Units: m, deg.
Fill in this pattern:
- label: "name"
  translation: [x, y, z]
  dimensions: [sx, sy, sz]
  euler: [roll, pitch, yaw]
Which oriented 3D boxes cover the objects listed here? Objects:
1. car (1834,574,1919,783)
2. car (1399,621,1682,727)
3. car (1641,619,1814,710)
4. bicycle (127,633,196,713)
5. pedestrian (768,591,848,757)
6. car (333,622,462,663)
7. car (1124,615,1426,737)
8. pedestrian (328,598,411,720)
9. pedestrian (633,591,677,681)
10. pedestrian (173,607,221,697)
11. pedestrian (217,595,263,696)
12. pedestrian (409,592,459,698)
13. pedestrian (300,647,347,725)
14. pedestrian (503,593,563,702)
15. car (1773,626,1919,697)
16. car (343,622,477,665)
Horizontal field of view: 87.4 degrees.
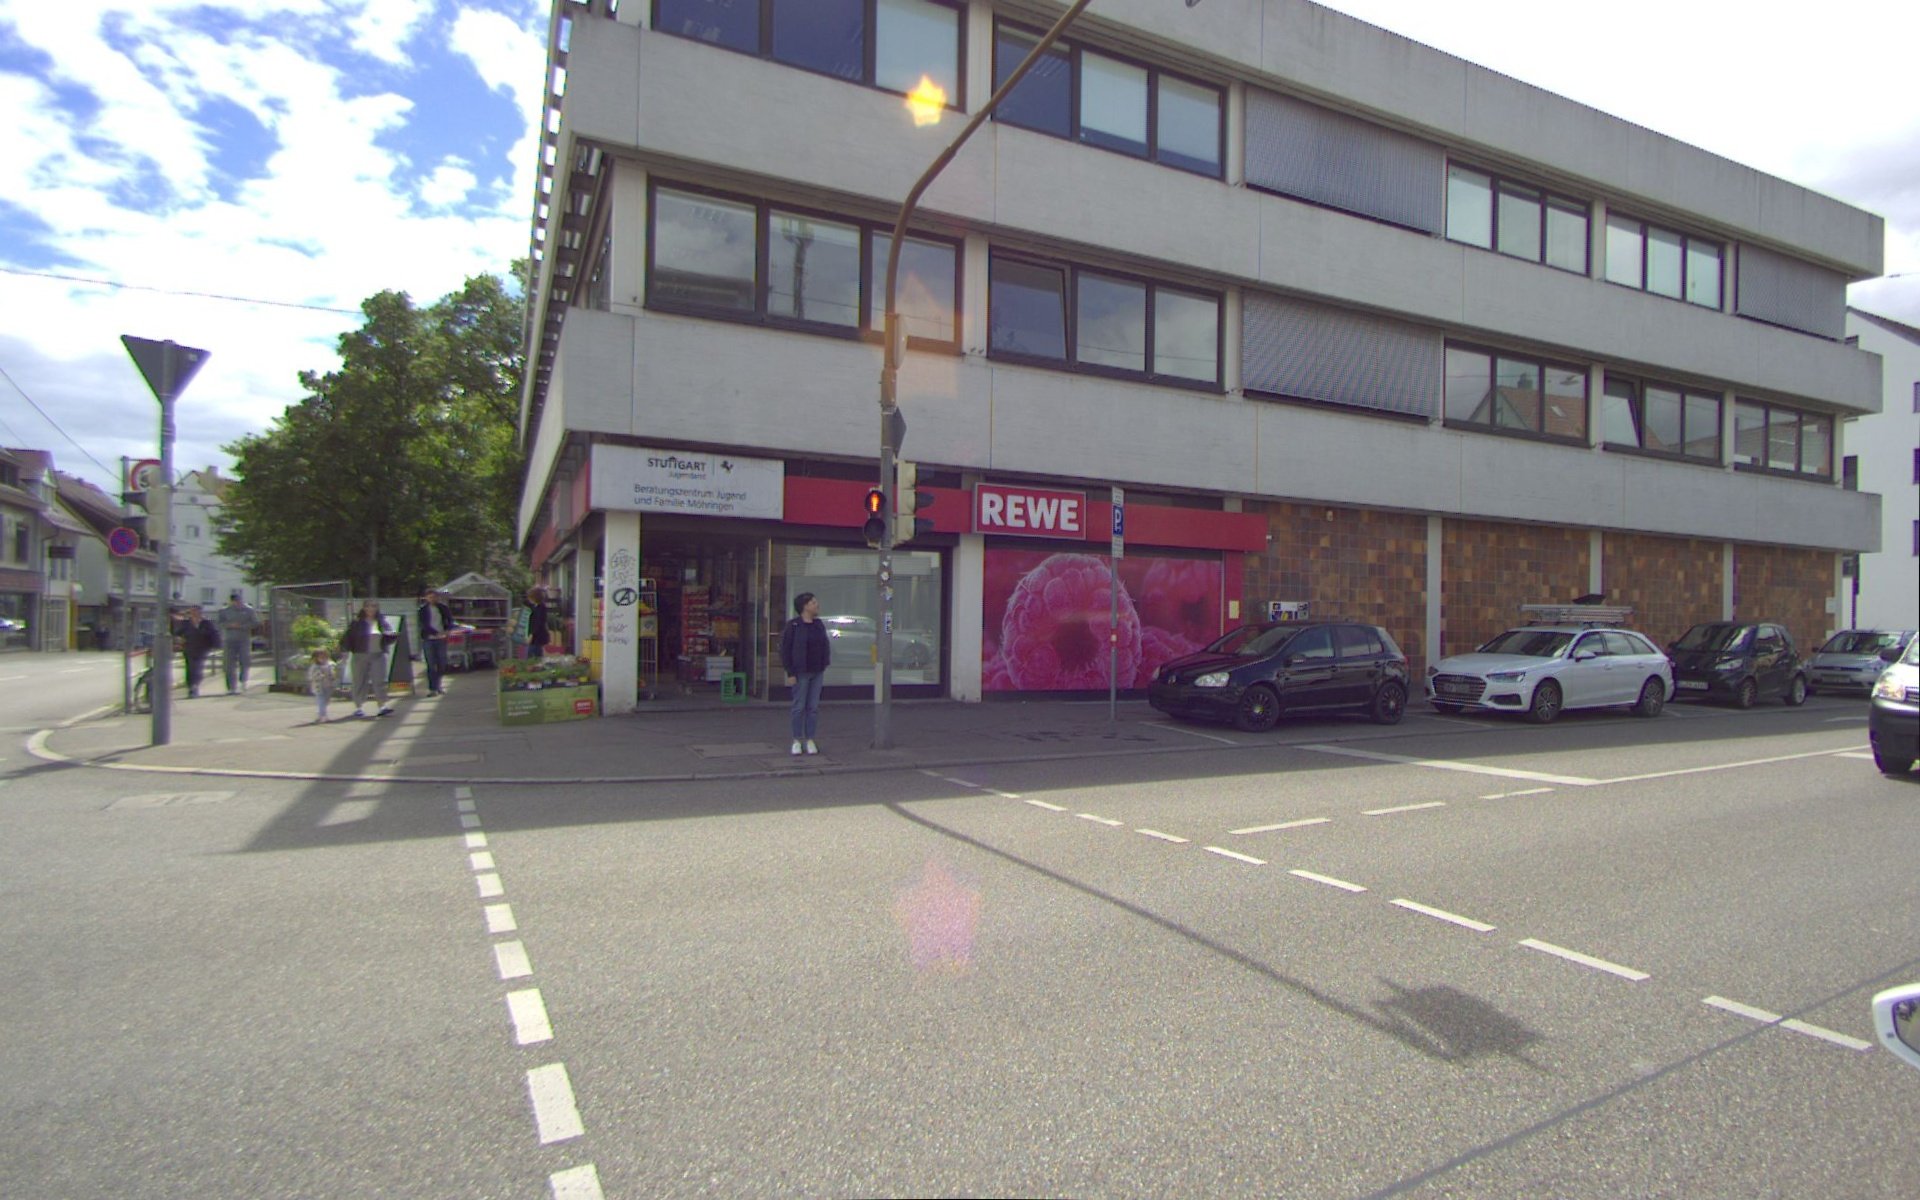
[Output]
- label: "car"
  translation: [10.806, 0.774, 10.152]
  dimensions: [4.109, 1.943, 1.828]
  euler: [2, -1, -31]
- label: "car"
  translation: [9.474, 1.116, 16.355]
  dimensions: [4.385, 1.463, 1.897]
  euler: [1, 0, -27]
- label: "car"
  translation: [14.609, 1.165, 19.116]
  dimensions: [2.909, 1.564, 1.600]
  euler: [1, 1, -30]
- label: "bicycle"
  translation: [-12.377, 1.110, 15.547]
  dimensions: [0.770, 1.157, 1.866]
  euler: [2, -3, -40]
- label: "pedestrian"
  translation: [-1.593, 0.750, 10.476]
  dimensions: [0.652, 1.663, 0.616]
  euler: [1, -1, -29]
- label: "car"
  translation: [-19.367, 1.453, 34.769]
  dimensions: [3.670, 1.339, 1.775]
  euler: [0, -1, -21]
- label: "car"
  translation: [4.515, 1.003, 14.336]
  dimensions: [4.034, 1.484, 1.778]
  euler: [1, 0, -27]
- label: "pedestrian"
  translation: [-8.224, 0.805, 13.999]
  dimensions: [0.712, 1.618, 0.695]
  euler: [1, -1, 33]
- label: "pedestrian"
  translation: [-6.456, 0.751, 21.241]
  dimensions: [0.671, 1.860, 0.727]
  euler: [0, -1, -38]
- label: "pedestrian"
  translation: [-13.860, 0.934, 18.257]
  dimensions: [0.671, 1.598, 0.727]
  euler: [1, -1, -38]
- label: "pedestrian"
  translation: [-13.698, 0.854, 19.106]
  dimensions: [0.671, 1.860, 0.727]
  euler: [0, -1, -38]
- label: "pedestrian"
  translation: [-9.138, 0.774, 17.462]
  dimensions: [0.614, 1.799, 0.552]
  euler: [1, -1, 45]
- label: "pedestrian"
  translation: [-8.531, 1.141, 13.467]
  dimensions: [0.357, 1.018, 0.384]
  euler: [1, -1, 34]
- label: "pedestrian"
  translation: [-7.062, 0.776, 16.643]
  dimensions: [0.381, 1.762, 0.779]
  euler: [2, -1, 30]
- label: "car"
  translation: [20.003, 1.299, 22.283]
  dimensions: [3.814, 1.445, 1.748]
  euler: [1, -1, -28]
- label: "car"
  translation: [-18.078, 1.405, 33.187]
  dimensions: [3.670, 1.338, 1.775]
  euler: [0, -1, -21]
